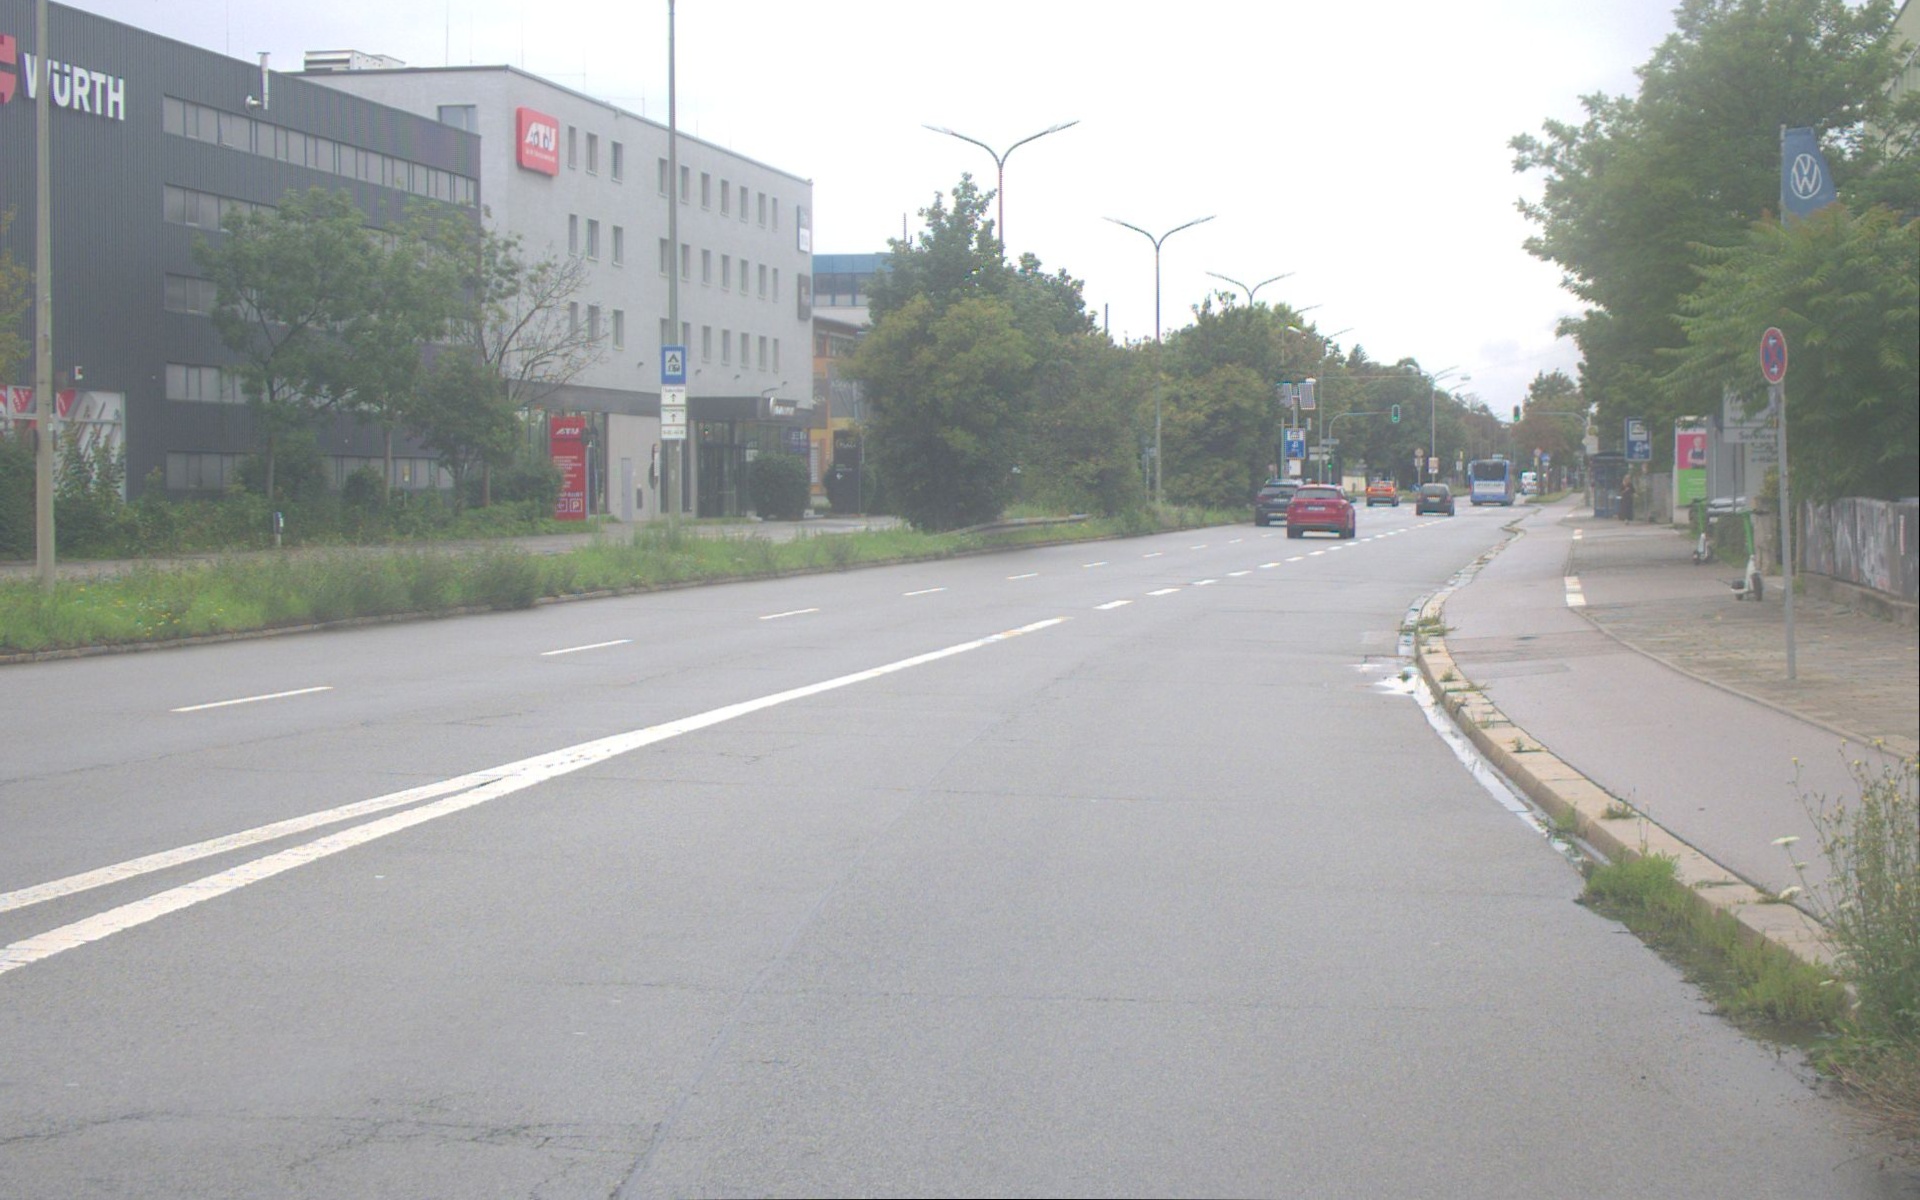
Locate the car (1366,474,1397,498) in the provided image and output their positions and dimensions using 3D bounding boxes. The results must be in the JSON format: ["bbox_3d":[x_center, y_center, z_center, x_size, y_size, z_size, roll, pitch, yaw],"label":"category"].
[{"bbox_3d":[26.188,-7.086,213.407,1.804,1.427,3.999,0,2,9],"label":"car"}]

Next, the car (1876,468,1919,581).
[{"bbox_3d":[14.166,-1.011,45.121,4.015,1.455,1.792,0,2,11],"label":"car"}]

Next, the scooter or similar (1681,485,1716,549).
[{"bbox_3d":[14.458,-1.633,67.344,0.496,1.200,1.430,-3,2,8],"label":"scooter or similar"}]

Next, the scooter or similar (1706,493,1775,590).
[{"bbox_3d":[10.074,-0.754,44.420,0.397,1.218,1.640,-3,1,-3],"label":"scooter or similar"}]

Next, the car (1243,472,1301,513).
[{"bbox_3d":[11.194,-3.855,123.154,1.804,1.427,3.999,0,2,9],"label":"car"}]

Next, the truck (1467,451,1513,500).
[{"bbox_3d":[35.637,-8.372,231.194,2.970,3.274,7.913,0,2,9],"label":"truck"}]

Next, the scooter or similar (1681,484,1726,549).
[{"bbox_3d":[14.084,-1.577,65.112,0.496,1.200,1.430,-3,1,1],"label":"scooter or similar"}]

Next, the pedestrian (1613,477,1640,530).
[{"bbox_3d":[22.580,-3.277,116.544,0.758,1.722,0.895,-4,2,9],"label":"pedestrian"}]

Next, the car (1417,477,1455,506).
[{"bbox_3d":[23.564,-5.379,170.065,1.804,1.427,3.999,0,2,9],"label":"car"}]

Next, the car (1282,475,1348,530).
[{"bbox_3d":[10.608,-2.906,102.550,1.862,1.612,3.999,1,2,7],"label":"car"}]
